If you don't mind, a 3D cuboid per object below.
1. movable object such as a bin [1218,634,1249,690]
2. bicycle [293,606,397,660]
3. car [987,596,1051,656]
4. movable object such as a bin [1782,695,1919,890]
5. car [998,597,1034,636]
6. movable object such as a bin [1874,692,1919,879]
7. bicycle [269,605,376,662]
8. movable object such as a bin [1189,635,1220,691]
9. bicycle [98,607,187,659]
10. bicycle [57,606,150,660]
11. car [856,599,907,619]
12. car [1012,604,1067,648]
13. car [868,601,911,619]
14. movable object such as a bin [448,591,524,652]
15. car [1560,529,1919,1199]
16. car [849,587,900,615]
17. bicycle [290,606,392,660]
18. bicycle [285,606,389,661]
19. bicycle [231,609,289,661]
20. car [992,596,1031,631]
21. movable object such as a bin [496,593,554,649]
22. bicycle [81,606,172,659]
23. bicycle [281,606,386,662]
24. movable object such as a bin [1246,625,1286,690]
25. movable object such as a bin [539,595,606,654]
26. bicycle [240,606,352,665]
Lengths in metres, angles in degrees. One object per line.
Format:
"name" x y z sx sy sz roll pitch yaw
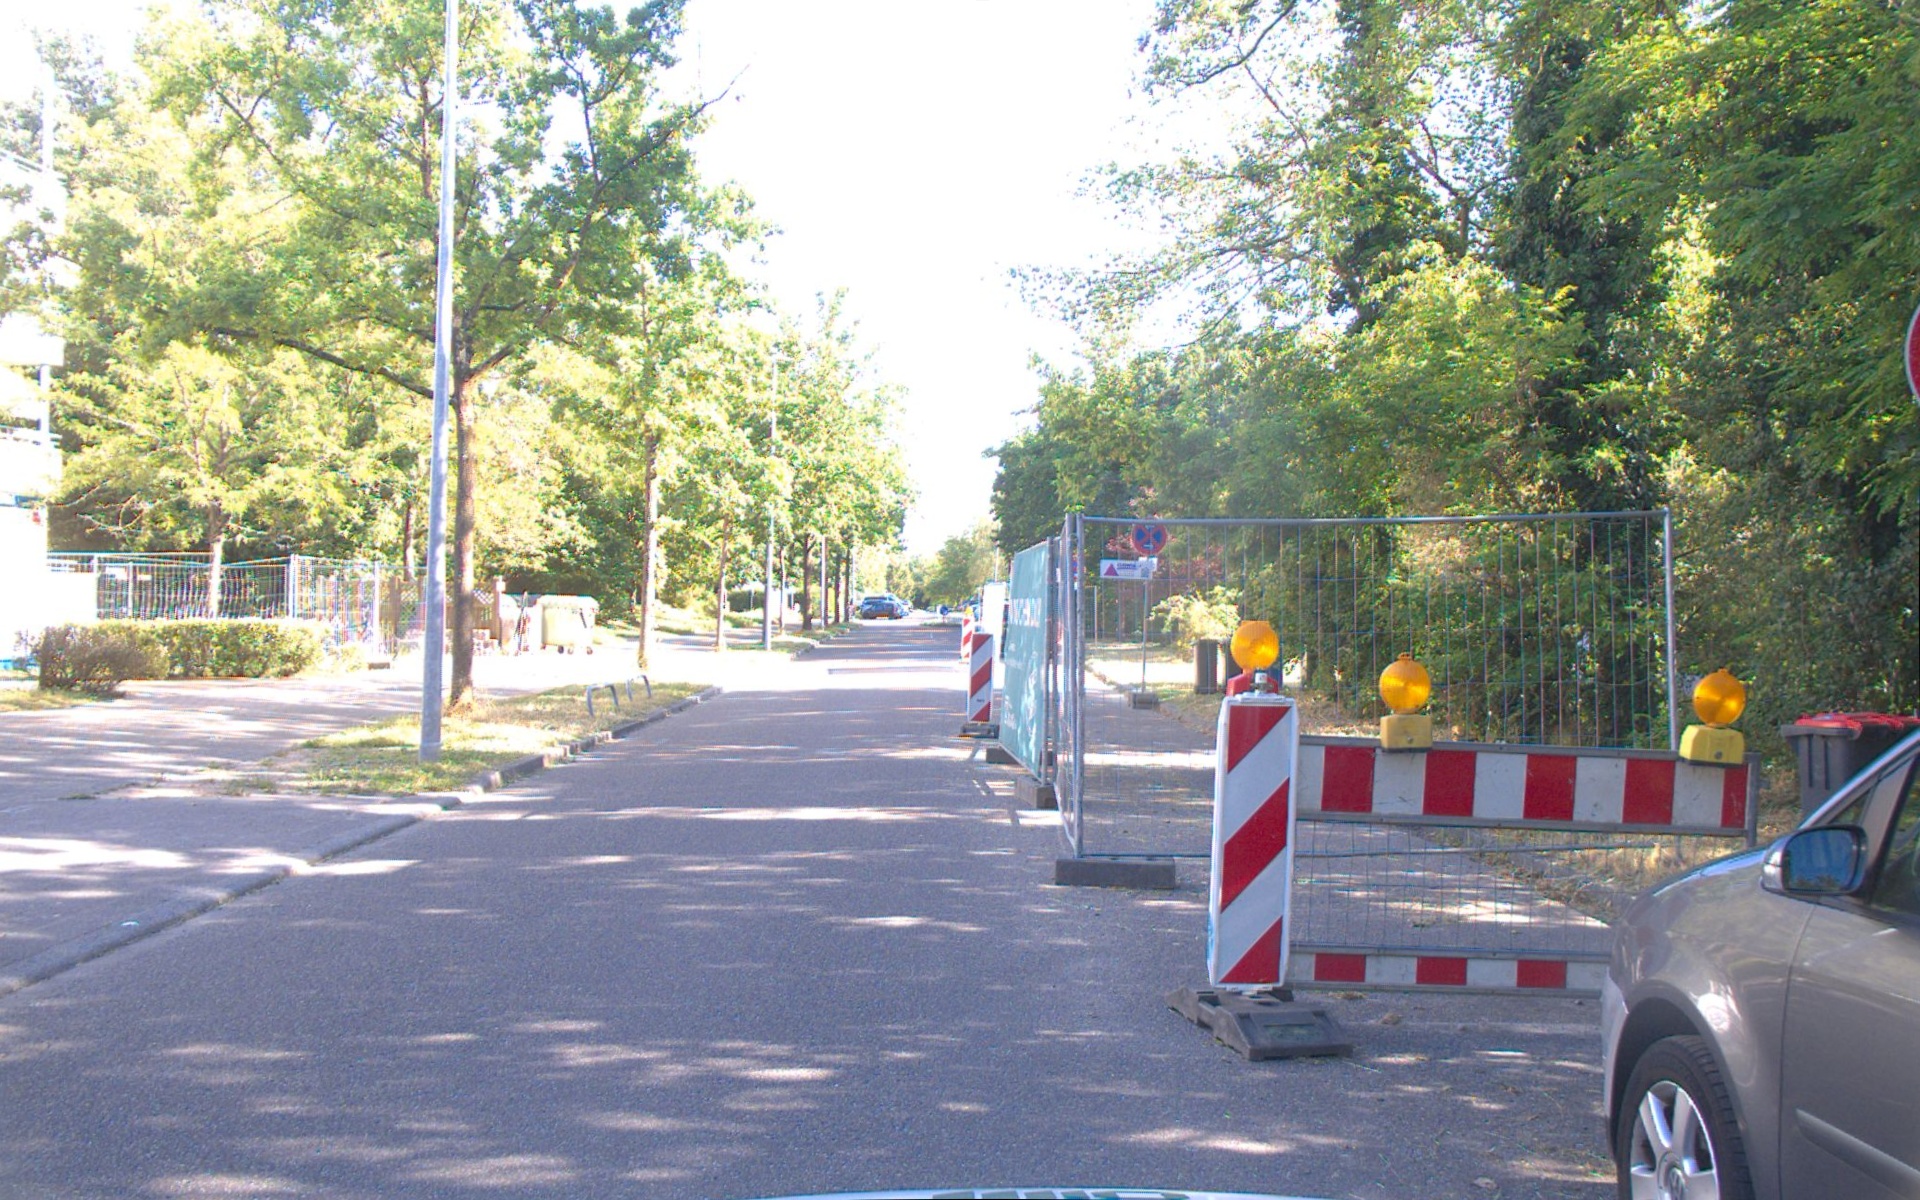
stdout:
"movable object such as a bin" 4.421 0.998 26.754 0.404 0.885 0.484 -1 -1 0
"bicycle" -12.221 0.655 32.888 1.882 1.045 0.399 1 -1 -14
"car" 1.850 0.772 50.755 1.772 1.680 4.422 2 0 3
"movable object such as a bin" 4.364 0.918 8.007 0.474 0.876 0.559 1 0 -3
"car" 2.759 0.792 81.884 1.590 1.804 3.668 2 0 0
"movable object such as a bin" 4.844 0.904 8.039 0.474 0.876 0.559 1 0 -3
"bicycle" -11.955 0.636 31.060 1.823 1.045 0.399 1 -1 -14
"movable object such as a bin" 3.940 1.009 26.681 0.404 0.885 0.484 -1 -1 0
"bicycle" -16.782 0.674 33.951 1.659 1.045 0.401 0 -1 5
"bicycle" -16.935 0.653 32.720 1.659 1.045 0.401 0 -1 5
"car" -6.984 0.816 146.865 4.227 1.604 2.047 2 0 6
"car" 2.722 0.868 57.316 1.628 1.399 4.154 2 0 -1
"car" -6.951 0.966 163.169 4.022 1.604 1.959 2 0 1
"movable object such as a bin" -11.700 0.523 40.854 1.244 1.461 1.324 0 0 27
"car" 2.424 0.729 2.191 1.645 1.650 4.136 2 0 -1
"car" -8.929 0.118 172.096 5.099 2.666 2.291 2 0 -6
"bicycle" -12.121 0.649 32.425 1.806 1.045 0.399 1 -1 -14
"bicycle" -12.045 0.648 32.004 1.827 1.045 0.399 1 -1 -14
"bicycle" -14.303 0.710 33.833 0.391 1.045 1.701 0 -1 2
"car" 2.873 0.735 93.062 1.755 1.816 4.553 2 0 -4
"movable object such as a bin" -11.474 0.544 43.637 1.131 1.461 1.258 0 0 -34
"bicycle" -16.835 0.657 33.397 1.659 1.045 0.401 0 -1 5
"bicycle" -11.933 0.643 31.534 1.806 1.045 0.399 1 -1 -14
"movable object such as a bin" 4.928 0.920 26.679 0.508 1.017 0.608 -1 -1 0
"movable object such as a bin" -9.857 0.606 42.071 1.242 1.461 1.182 0 0 16
"bicycle" -12.078 0.649 30.117 1.837 1.045 0.399 1 -1 -14
